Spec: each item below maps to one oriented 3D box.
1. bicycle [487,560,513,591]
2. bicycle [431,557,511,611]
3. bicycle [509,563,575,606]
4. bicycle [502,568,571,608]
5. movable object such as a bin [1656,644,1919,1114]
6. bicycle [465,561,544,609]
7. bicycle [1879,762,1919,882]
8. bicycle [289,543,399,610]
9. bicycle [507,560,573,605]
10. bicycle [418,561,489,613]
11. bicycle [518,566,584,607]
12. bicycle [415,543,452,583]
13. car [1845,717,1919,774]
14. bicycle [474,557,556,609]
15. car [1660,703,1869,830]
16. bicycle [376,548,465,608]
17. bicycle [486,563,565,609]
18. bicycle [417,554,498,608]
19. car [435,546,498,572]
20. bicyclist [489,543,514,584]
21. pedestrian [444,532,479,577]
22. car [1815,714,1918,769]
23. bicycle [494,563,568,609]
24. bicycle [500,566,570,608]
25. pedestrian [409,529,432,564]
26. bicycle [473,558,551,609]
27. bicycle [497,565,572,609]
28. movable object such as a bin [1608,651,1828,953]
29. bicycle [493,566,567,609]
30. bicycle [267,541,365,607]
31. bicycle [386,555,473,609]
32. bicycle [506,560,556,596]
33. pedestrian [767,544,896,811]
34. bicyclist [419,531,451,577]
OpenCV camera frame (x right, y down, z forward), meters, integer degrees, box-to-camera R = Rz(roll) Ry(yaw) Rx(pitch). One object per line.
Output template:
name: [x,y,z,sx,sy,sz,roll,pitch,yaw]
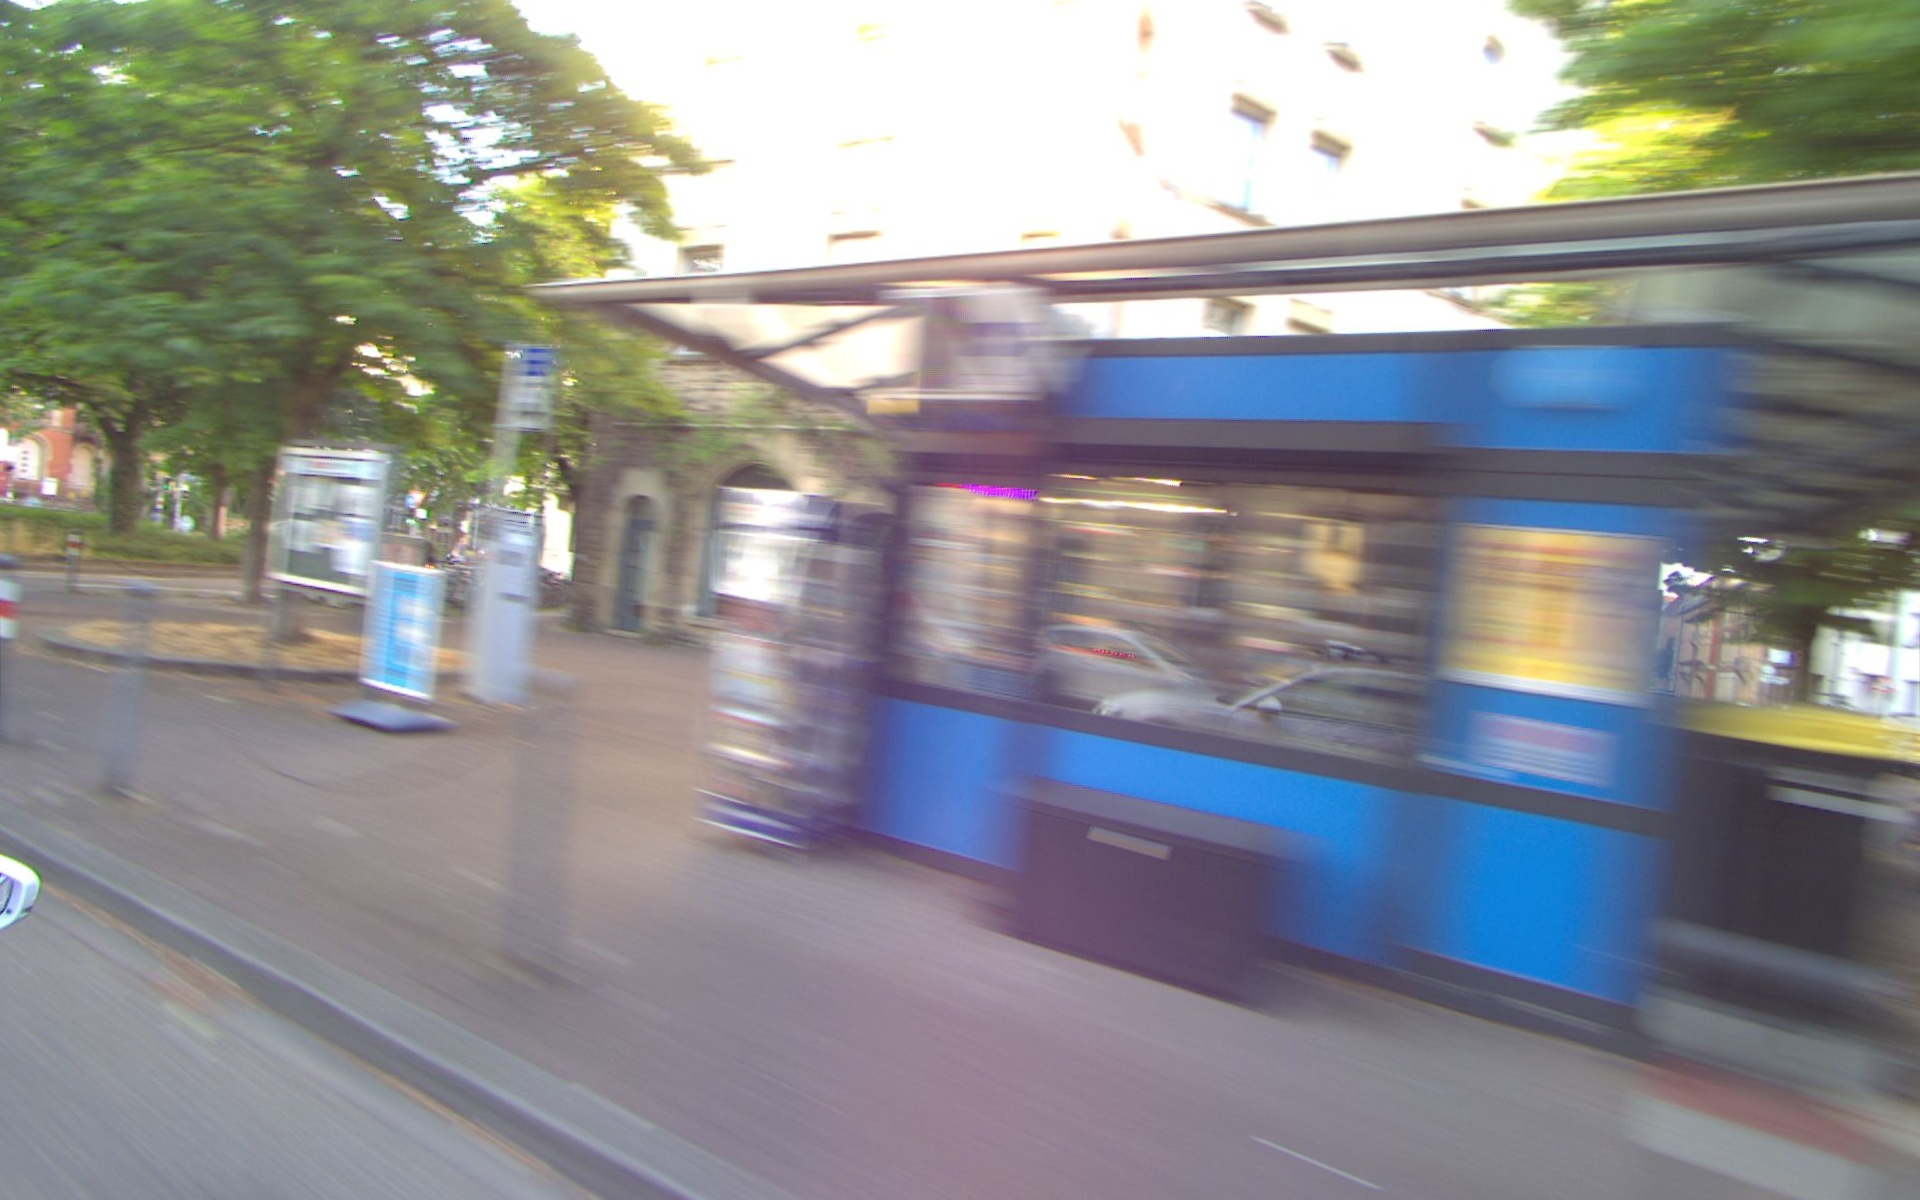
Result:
bicycle: [-18.054,-0.970,39.483,0.699,1.083,1.826,6,0,-20]
bicycle: [-11.785,-0.382,24.266,1.580,1.089,0.418,7,1,-8]
bicycle: [-13.372,-0.506,32.235,1.827,1.159,0.417,7,1,-16]
bicycle: [-12.917,-0.373,30.706,1.827,1.012,0.417,7,1,-16]
movable object such as a bin: [3.396,0.970,4.051,0.754,1.496,1.220,8,4,38]
bicycle: [-12.080,-0.399,26.735,1.767,1.077,0.446,7,1,-12]
bicycle: [9.206,2.112,9.318,0.569,1.008,1.736,7,0,30]
bicycle: [-11.751,-0.447,19.184,1.863,1.052,0.432,7,1,8]
bicycle: [-13.822,-0.564,33.136,1.856,1.229,0.491,7,-5,-16]
bicycle: [-10.325,-0.245,20.565,0.424,0.981,1.727,6,0,2]
bicycle: [-13.315,-0.433,32.796,1.841,1.118,0.567,7,0,-39]
bicycle: [-18.060,-1.270,34.552,0.689,1.252,1.856,6,0,-17]
car: [29.435,4.581,31.427,1.795,1.501,3.903,7,-1,30]
bicycle: [-12.303,-0.467,27.847,1.890,1.215,0.551,7,1,-14]
car: [12.714,2.543,16.175,1.795,1.501,3.904,7,-1,29]
bicycle: [-12.056,-0.484,22.504,1.579,1.162,0.554,7,1,-4]
bicycle: [-12.336,-0.400,28.592,1.890,1.078,0.551,7,1,-14]
bicycle: [-11.912,-0.440,23.864,1.580,1.077,0.418,7,1,-8]
car: [-37.368,-3.082,76.337,1.913,1.528,4.422,7,0,11]
bicyclist: [-17.998,-1.432,39.485,0.699,1.521,0.915,6,1,-21]
pedestrian: [-25.358,-2.293,51.163,0.994,2.113,1.060,6,2,6]
car: [31.865,4.937,35.486,1.796,1.501,3.902,7,-1,31]
bicycle: [-12.541,-0.414,29.442,1.825,1.130,0.418,7,1,-12]
bicycle: [-12.834,-0.388,30.427,1.827,1.064,0.417,7,1,-16]
pedestrian: [-29.483,-2.927,54.994,0.858,1.817,0.920,6,1,-21]
bicycle: [-12.084,-0.442,27.146,1.767,1.183,0.446,7,1,-12]
bicycle: [-12.662,-0.380,29.972,1.891,1.074,0.534,7,1,-15]
movable object such as a bin: [4.523,1.162,6.035,0.807,1.491,1.283,8,-3,38]
bicycle: [-12.443,-0.369,29.133,1.825,1.027,0.418,7,1,-12]
bicycle: [-12.066,-0.487,18.852,1.577,1.052,0.432,7,1,8]
bicycle: [-12.096,-0.411,22.946,1.579,1.033,0.554,7,1,-4]
bicycle: [-16.583,-0.843,38.879,1.654,1.144,0.482,7,7,-25]
pedestrian: [-0.797,0.474,6.416,0.580,1.558,0.678,6,1,-1]
bicyclist: [-18.020,-1.581,34.540,0.689,1.480,0.781,6,1,-18]
